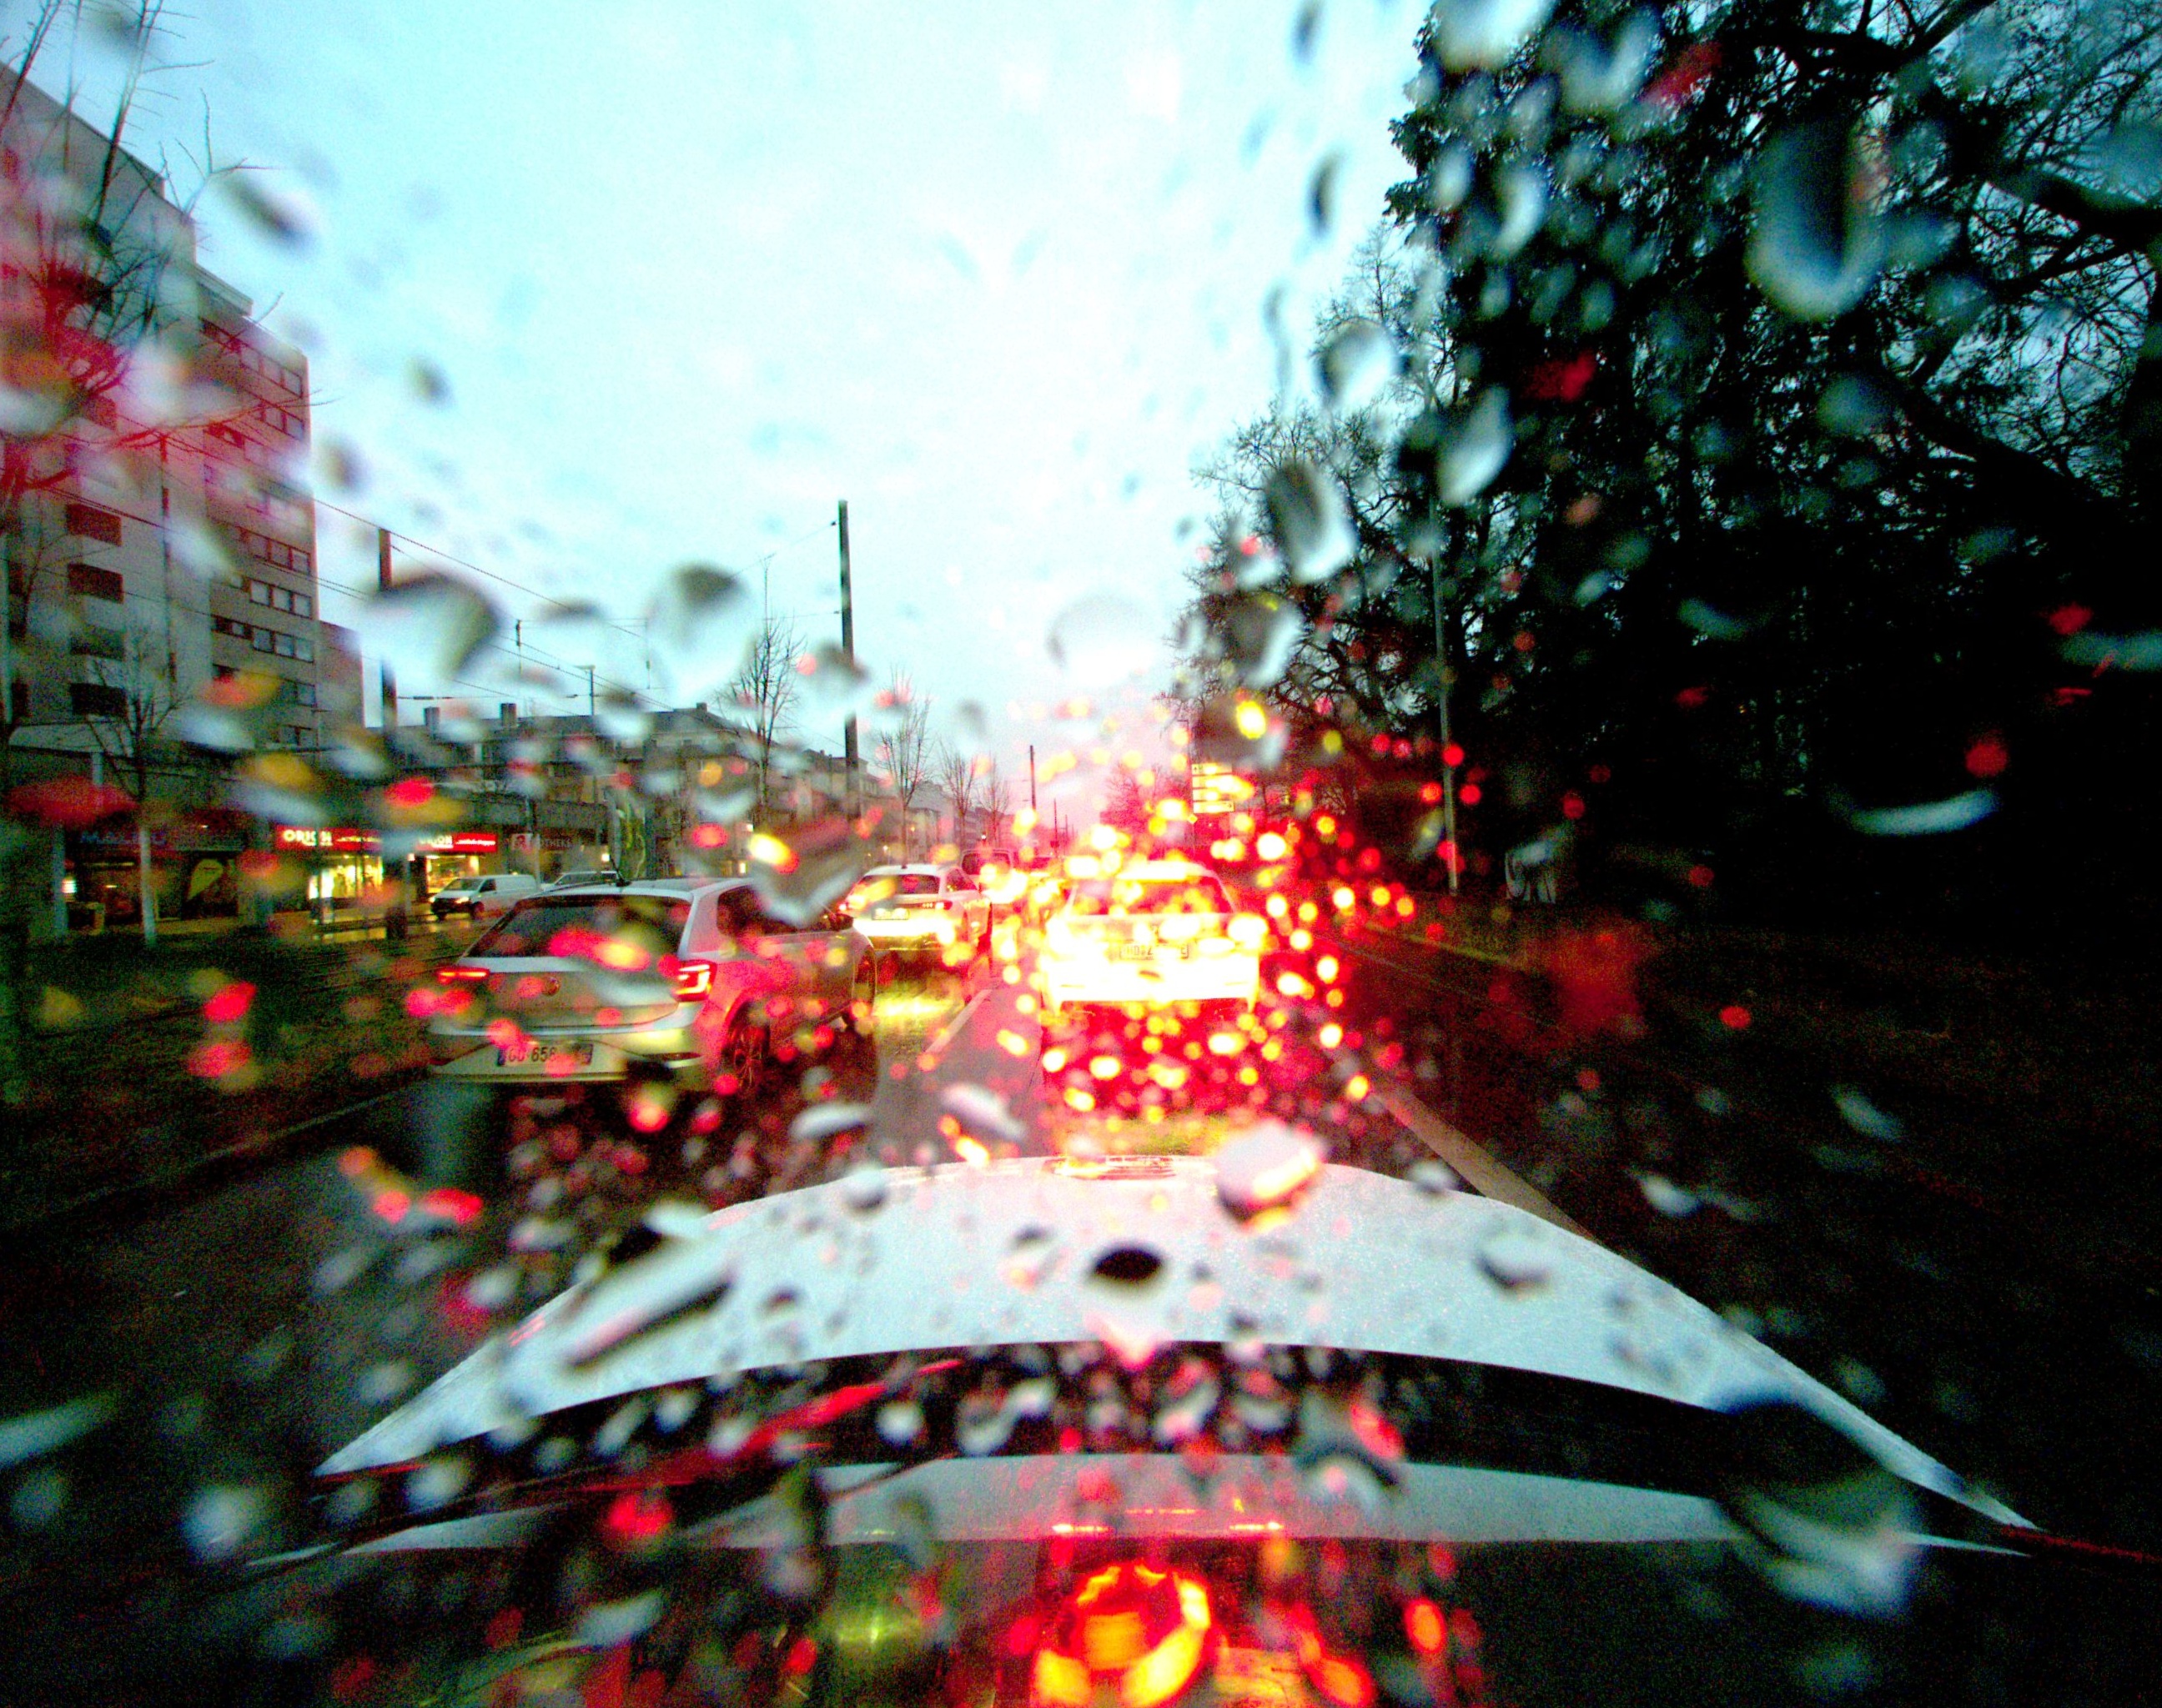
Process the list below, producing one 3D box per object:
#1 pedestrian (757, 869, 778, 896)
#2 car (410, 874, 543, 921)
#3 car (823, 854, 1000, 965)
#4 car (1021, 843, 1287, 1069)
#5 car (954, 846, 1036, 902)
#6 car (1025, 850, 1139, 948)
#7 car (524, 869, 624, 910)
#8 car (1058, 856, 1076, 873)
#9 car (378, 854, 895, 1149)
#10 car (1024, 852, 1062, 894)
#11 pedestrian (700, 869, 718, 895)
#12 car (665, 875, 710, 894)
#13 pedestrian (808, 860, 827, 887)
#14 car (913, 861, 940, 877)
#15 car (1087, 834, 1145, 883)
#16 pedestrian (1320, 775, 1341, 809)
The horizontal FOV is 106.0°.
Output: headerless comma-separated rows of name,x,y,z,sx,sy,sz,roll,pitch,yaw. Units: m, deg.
pedestrian,-23.834,2.162,61.885,0.994,2.013,1.078,-3,0,39
car,-29.706,2.093,40.323,1.983,2.046,5.575,0,-1,6
car,-2.590,0.771,13.627,1.792,1.466,4.587,-3,0,2
car,0.606,0.733,8.355,1.855,1.556,4.940,-3,0,2
car,-2.403,0.534,23.867,1.731,1.419,4.395,-3,0,2
car,0.078,0.730,15.076,1.793,1.511,3.897,-2,0,2
car,-30.706,2.097,49.427,4.859,2.244,1.975,0,-1,-44
car,-1.099,0.822,62.950,1.359,1.316,2.715,0,-1,-1
car,-2.815,0.781,6.310,1.687,1.533,4.001,-1,0,2
car,-1.540,0.758,33.570,1.501,1.653,2.843,0,-1,-2
pedestrian,-29.437,2.224,64.498,1.013,2.013,0.950,-2,0,-39
car,-40.680,3.140,84.310,3.744,1.942,1.838,0,-1,-7
pedestrian,-21.099,1.557,65.248,1.274,2.013,1.000,-2,0,-23
car,-16.136,1.533,85.129,1.987,1.602,4.000,0,-1,1
car,1.127,0.148,26.745,1.731,1.419,3.704,-3,0,2
pedestrian,15.800,-3.919,51.567,0.955,2.013,1.008,-2,0,2
